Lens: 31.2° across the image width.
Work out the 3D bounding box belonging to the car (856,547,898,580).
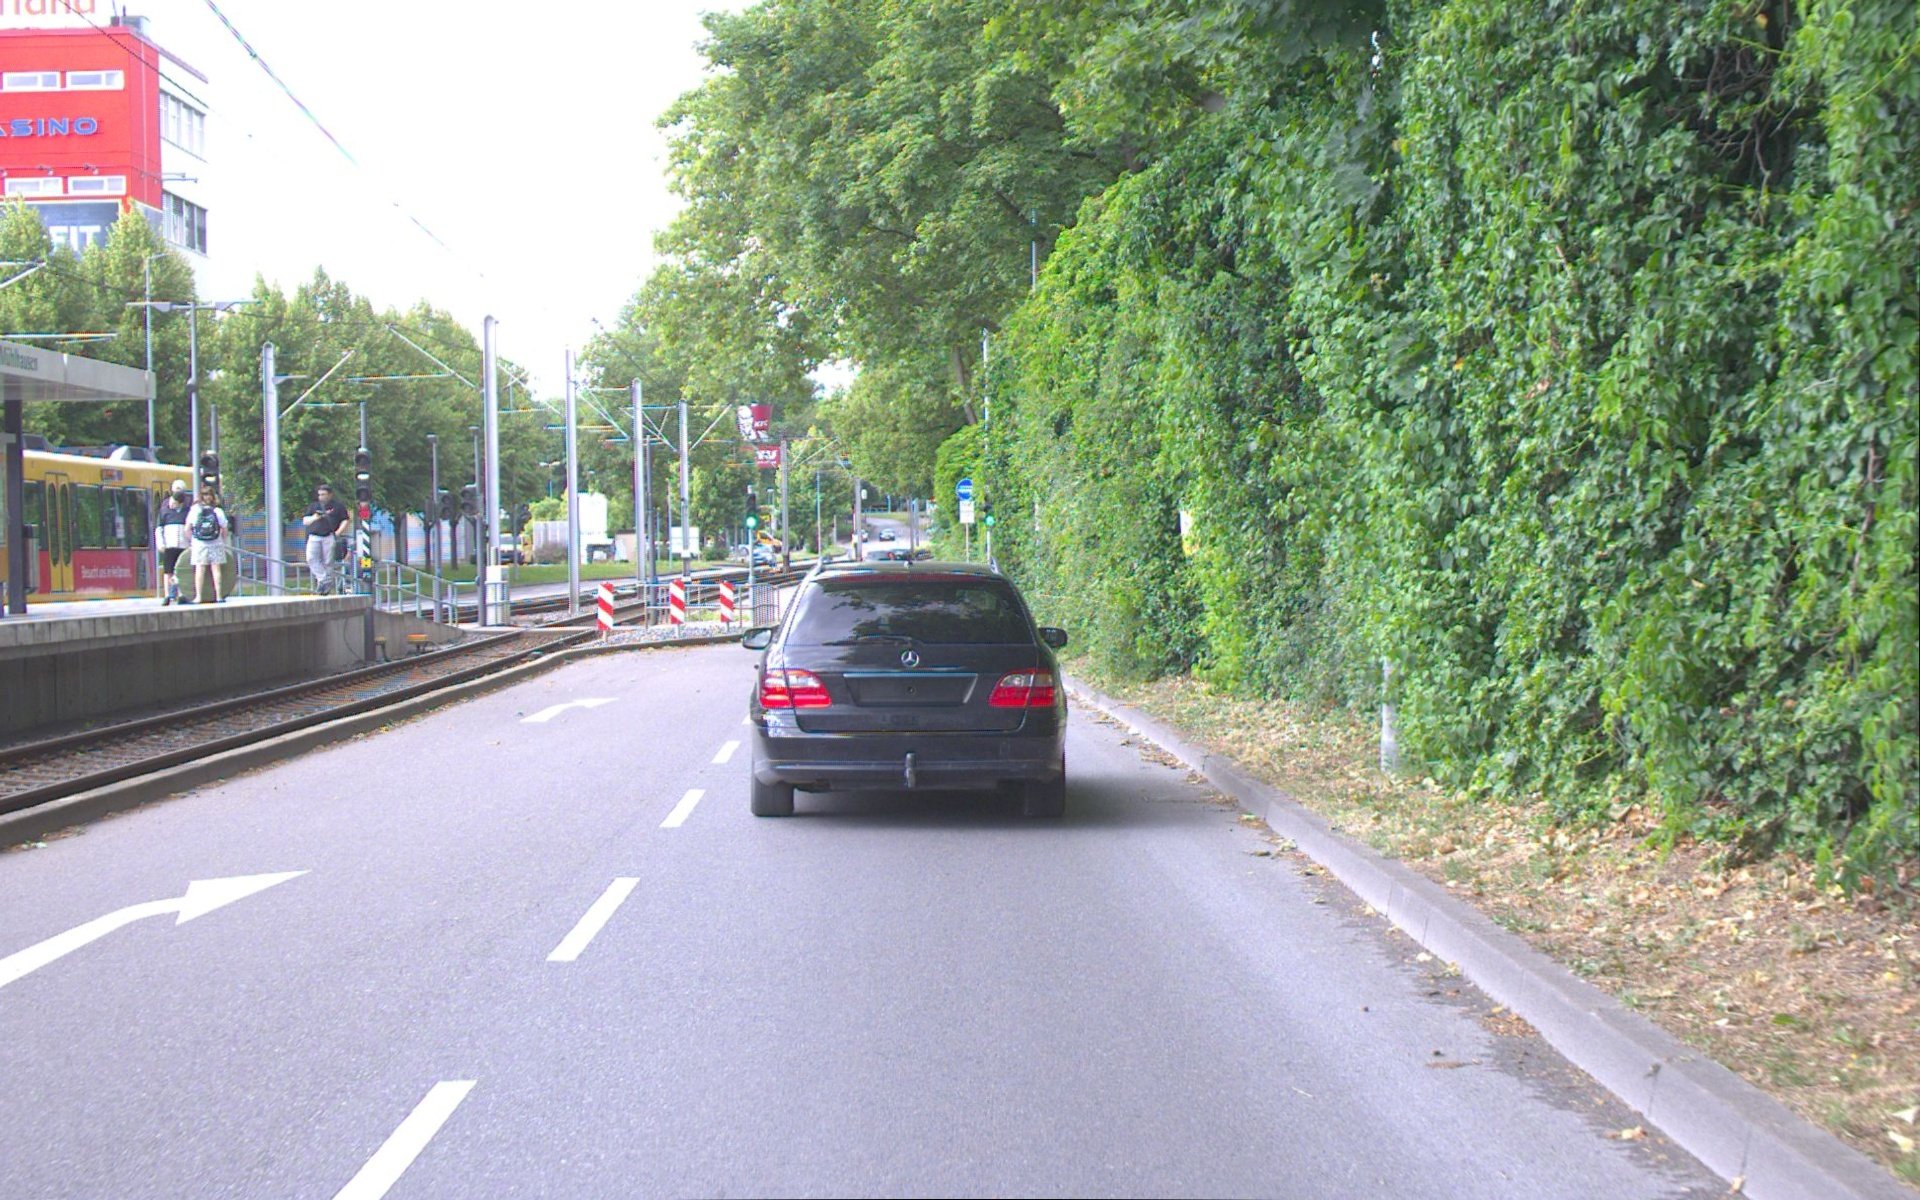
[{"bbox_3d":[-3.887,-1.728,161.875,1.825,1.524,4.416,-1,1,1],"label":"car"}]

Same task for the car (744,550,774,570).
[{"bbox_3d":[-14.262,-2.820,243.920,1.660,1.388,3.718,0,1,4],"label":"car"}]

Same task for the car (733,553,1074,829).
[{"bbox_3d":[-0.314,0.460,20.710,1.833,1.473,4.416,0,1,0],"label":"car"}]

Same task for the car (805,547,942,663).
[{"bbox_3d":[-1.214,0.032,48.153,1.825,1.524,4.416,0,1,-1],"label":"car"}]

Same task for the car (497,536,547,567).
[{"bbox_3d":[-25.815,-2.876,202.779,1.994,1.737,4.987,-1,1,3],"label":"car"}]

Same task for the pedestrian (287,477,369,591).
[{"bbox_3d":[-9.512,-0.991,51.734,0.745,1.672,0.874,-2,1,43],"label":"pedestrian"}]

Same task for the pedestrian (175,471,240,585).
[{"bbox_3d":[-9.937,-0.950,45.399,0.520,1.477,0.580,-2,1,37],"label":"pedestrian"}]

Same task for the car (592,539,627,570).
[{"bbox_3d":[-23.859,-3.080,233.971,1.993,2.007,4.000,-2,1,-1],"label":"car"}]

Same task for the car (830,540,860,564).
[{"bbox_3d":[-7.454,-3.101,223.026,1.825,1.524,3.986,0,1,1],"label":"car"}]

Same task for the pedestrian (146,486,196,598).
[{"bbox_3d":[-10.588,-0.777,46.141,0.475,1.478,0.542,-3,1,-27],"label":"pedestrian"}]

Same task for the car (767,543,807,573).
[{"bbox_3d":[-8.984,-2.220,178.979,1.825,1.524,3.928,0,1,1],"label":"car"}]

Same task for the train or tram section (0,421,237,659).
[{"bbox_3d":[-16.635,-0.983,62.349,2.756,3.815,18.631,-2,0,1],"label":"train or tram section"}]

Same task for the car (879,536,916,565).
[{"bbox_3d":[-3.339,-2.665,184.102,1.825,1.524,3.928,0,1,1],"label":"car"}]

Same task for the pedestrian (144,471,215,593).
[{"bbox_3d":[-11.032,-0.960,48.626,0.771,1.672,0.791,-2,1,-1],"label":"pedestrian"}]
